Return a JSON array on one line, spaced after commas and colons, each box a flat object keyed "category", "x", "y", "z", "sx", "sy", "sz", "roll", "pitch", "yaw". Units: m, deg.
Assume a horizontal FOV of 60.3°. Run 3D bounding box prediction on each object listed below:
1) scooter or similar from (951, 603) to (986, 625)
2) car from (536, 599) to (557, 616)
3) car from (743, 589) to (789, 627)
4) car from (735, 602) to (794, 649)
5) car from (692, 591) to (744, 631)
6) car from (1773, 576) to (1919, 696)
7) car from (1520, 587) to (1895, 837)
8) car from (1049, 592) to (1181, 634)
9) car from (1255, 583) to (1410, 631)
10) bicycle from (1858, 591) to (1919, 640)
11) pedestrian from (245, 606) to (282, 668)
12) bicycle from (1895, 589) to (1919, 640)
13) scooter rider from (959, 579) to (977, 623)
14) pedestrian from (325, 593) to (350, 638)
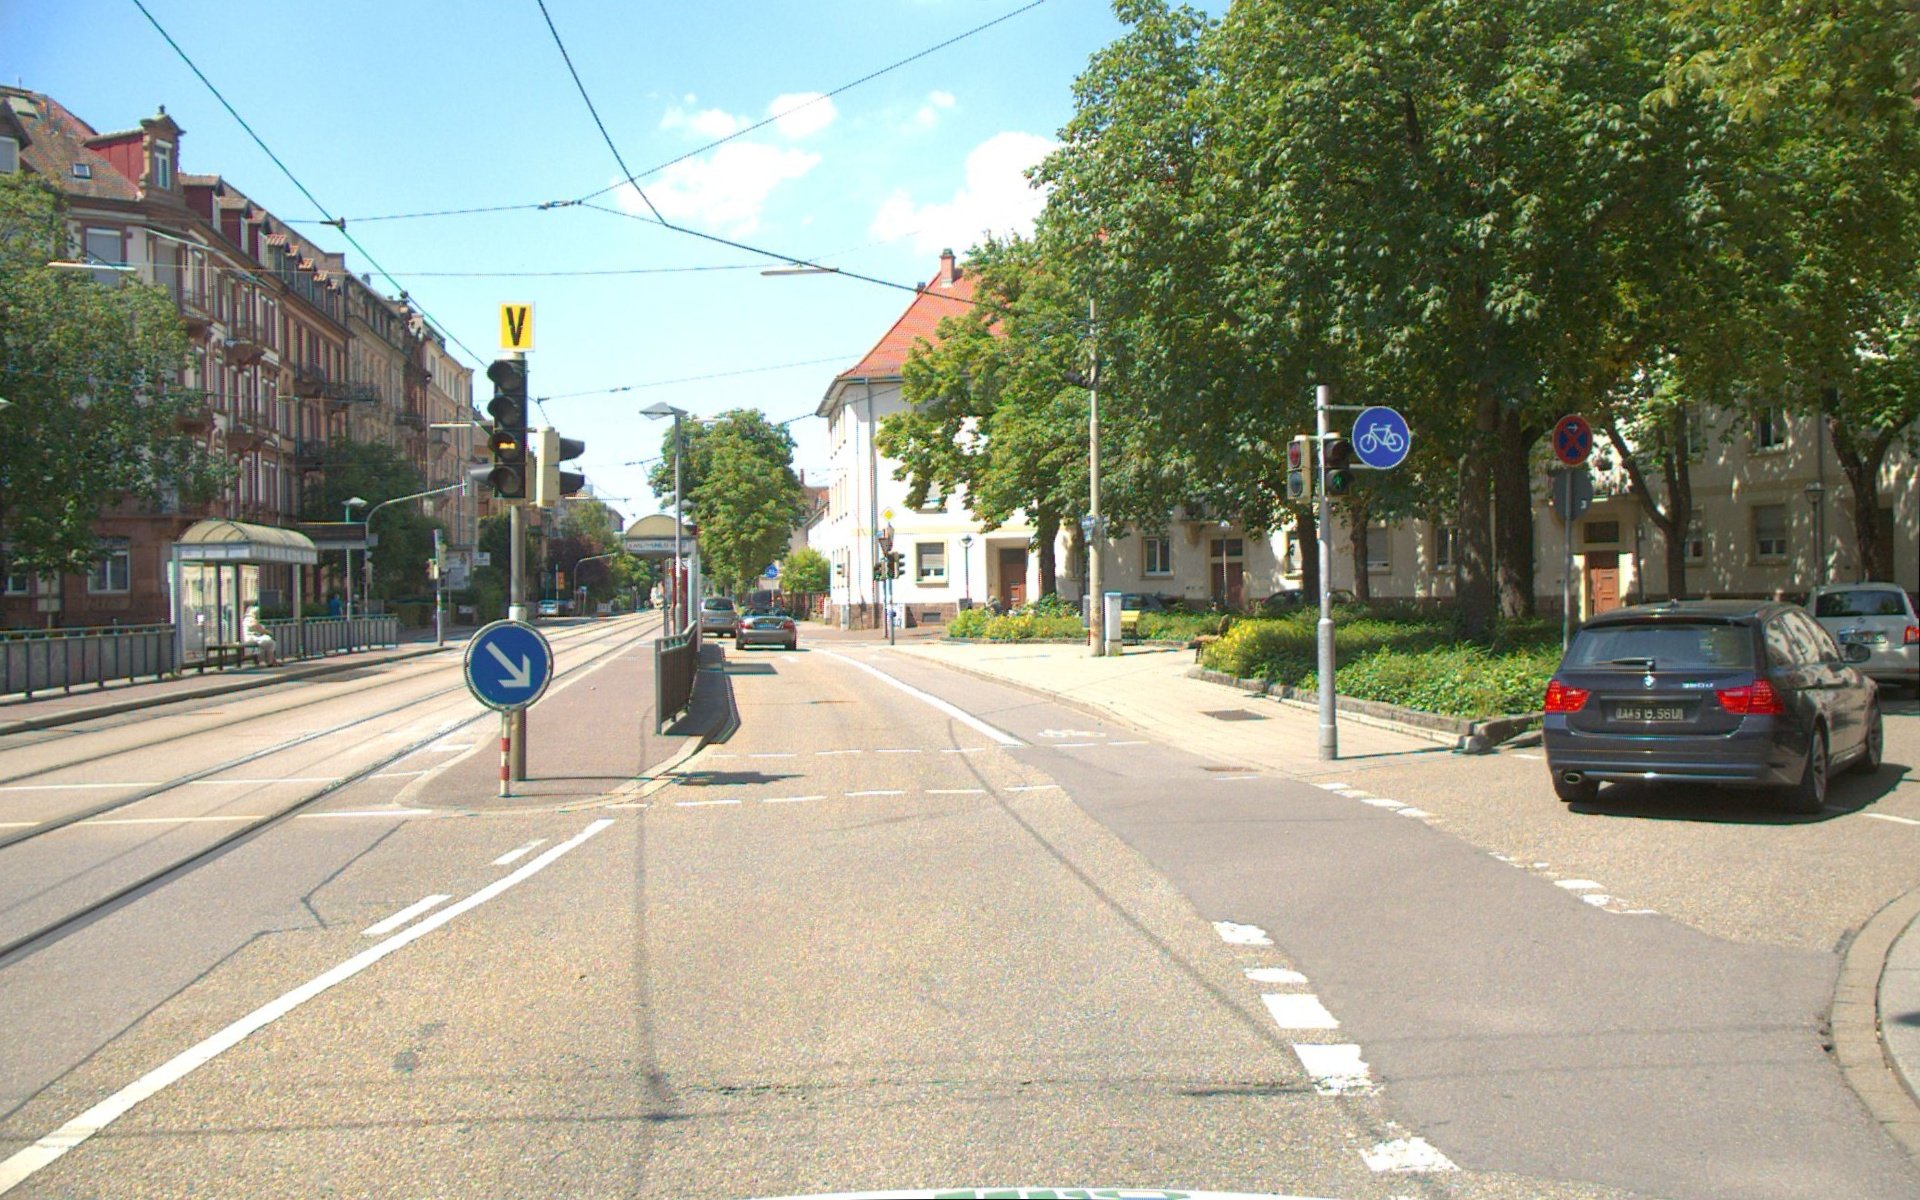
[{"category": "scooter or similar", "x": 0.336, "y": 0.552, "z": 65.329, "sx": 1.289, "sy": 0.852, "sz": 0.525, "roll": -1, "pitch": 0, "yaw": -14}, {"category": "car", "x": -39.124, "y": 0.708, "z": 156.409, "sx": 1.759, "sy": 1.614, "sz": 3.981, "roll": 0, "pitch": -1, "yaw": -17}, {"category": "car", "x": -10.076, "y": 0.387, "z": 85.672, "sx": 1.959, "sy": 1.881, "sz": 3.988, "roll": -1, "pitch": 0, "yaw": -12}, {"category": "car", "x": -5.959, "y": 0.744, "z": 50.134, "sx": 1.660, "sy": 1.346, "sz": 3.814, "roll": -1, "pitch": 0, "yaw": -8}, {"category": "car", "x": -9.763, "y": 0.428, "z": 66.605, "sx": 1.663, "sy": 1.540, "sz": 3.806, "roll": -1, "pitch": 0, "yaw": -15}, {"category": "car", "x": 12.244, "y": 0.440, "z": 22.742, "sx": 1.651, "sy": 1.510, "sz": 3.684, "roll": -1, "pitch": 0, "yaw": 22}, {"category": "car", "x": 5.724, "y": 0.673, "z": 12.324, "sx": 1.693, "sy": 1.433, "sz": 4.548, "roll": -1, "pitch": 1, "yaw": 35}, {"category": "car", "x": 5.014, "y": 0.417, "z": 53.587, "sx": 3.909, "sy": 1.265, "sz": 1.622, "roll": -1, "pitch": 0, "yaw": 27}, {"category": "car", "x": 10.923, "y": 0.211, "z": 48.747, "sx": 1.776, "sy": 1.351, "sz": 4.275, "roll": -1, "pitch": 0, "yaw": -40}, {"category": "bicycle", "x": 21.562, "y": 0.339, "z": 37.539, "sx": 2.167, "sy": 1.077, "sz": 0.556, "roll": -1, "pitch": 0, "yaw": -8}, {"category": "pedestrian", "x": -14.492, "y": 0.768, "z": 34.414, "sx": 0.603, "sy": 1.264, "sz": 0.625, "roll": -1, "pitch": 0, "yaw": -14}, {"category": "bicycle", "x": 21.407, "y": 0.289, "z": 35.749, "sx": 2.170, "sy": 1.077, "sz": 0.652, "roll": -1, "pitch": 0, "yaw": -11}, {"category": "scooter rider", "x": 0.318, "y": 0.032, "z": 65.328, "sx": 0.580, "sy": 1.716, "sz": 0.526, "roll": -1, "pitch": 0, "yaw": -14}, {"category": "pedestrian", "x": -25.743, "y": 0.638, "z": 68.398, "sx": 0.625, "sy": 1.843, "sz": 0.741, "roll": -1, "pitch": 0, "yaw": 14}]
